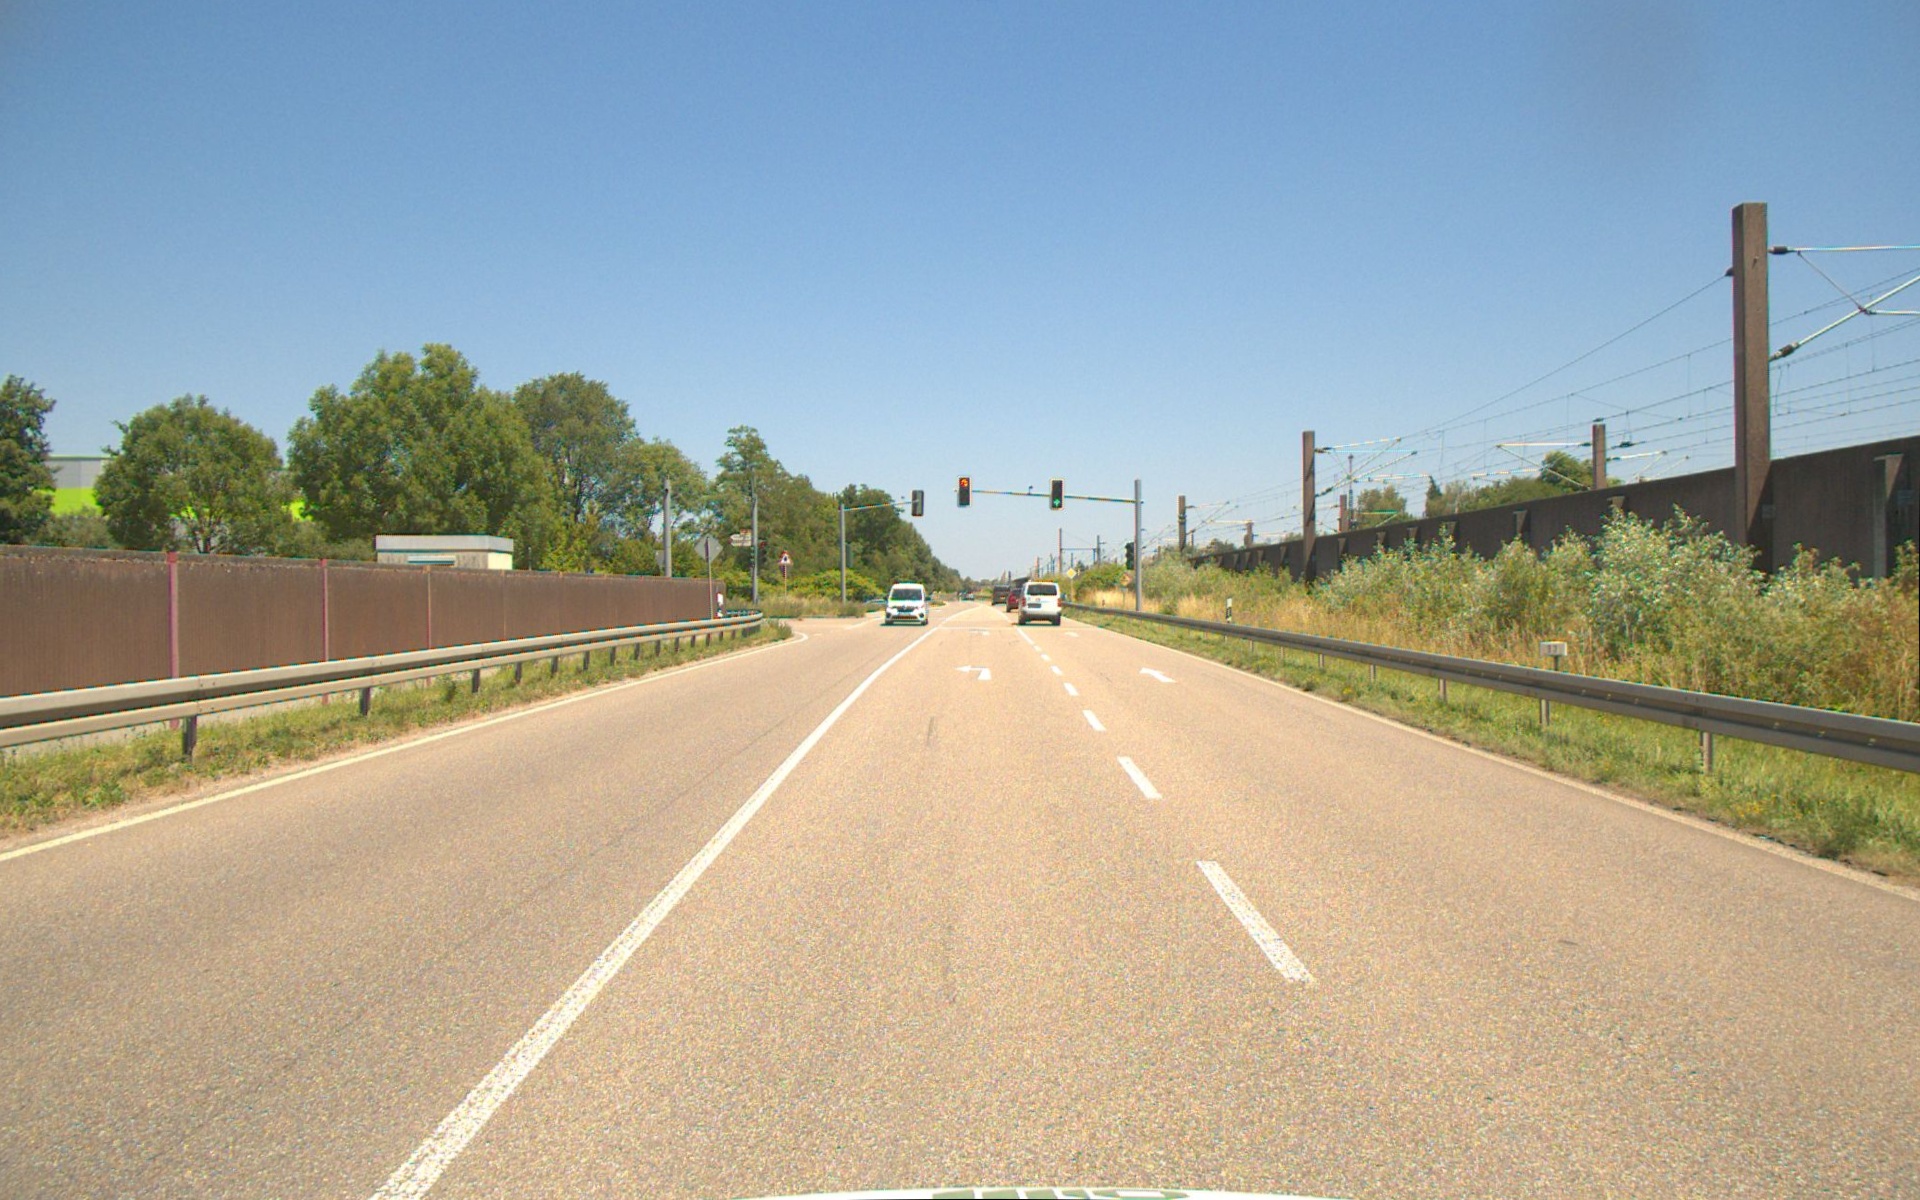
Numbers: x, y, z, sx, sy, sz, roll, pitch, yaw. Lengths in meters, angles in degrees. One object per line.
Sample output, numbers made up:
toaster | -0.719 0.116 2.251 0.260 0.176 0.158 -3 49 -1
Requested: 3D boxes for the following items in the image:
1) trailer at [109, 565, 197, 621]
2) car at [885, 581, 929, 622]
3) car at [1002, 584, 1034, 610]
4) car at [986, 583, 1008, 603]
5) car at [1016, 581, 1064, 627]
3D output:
trailer | -41.580 -0.366 85.259 1.796 2.813 3.732 0 0 44
car | -2.348 0.048 73.567 1.849 1.770 4.775 1 0 -2
car | 4.055 -0.229 116.282 1.979 1.756 4.542 0 0 -1
car | 3.763 -0.700 170.627 2.111 2.002 4.542 0 0 -1
car | 3.681 0.152 76.330 1.953 2.018 4.059 1 1 0
